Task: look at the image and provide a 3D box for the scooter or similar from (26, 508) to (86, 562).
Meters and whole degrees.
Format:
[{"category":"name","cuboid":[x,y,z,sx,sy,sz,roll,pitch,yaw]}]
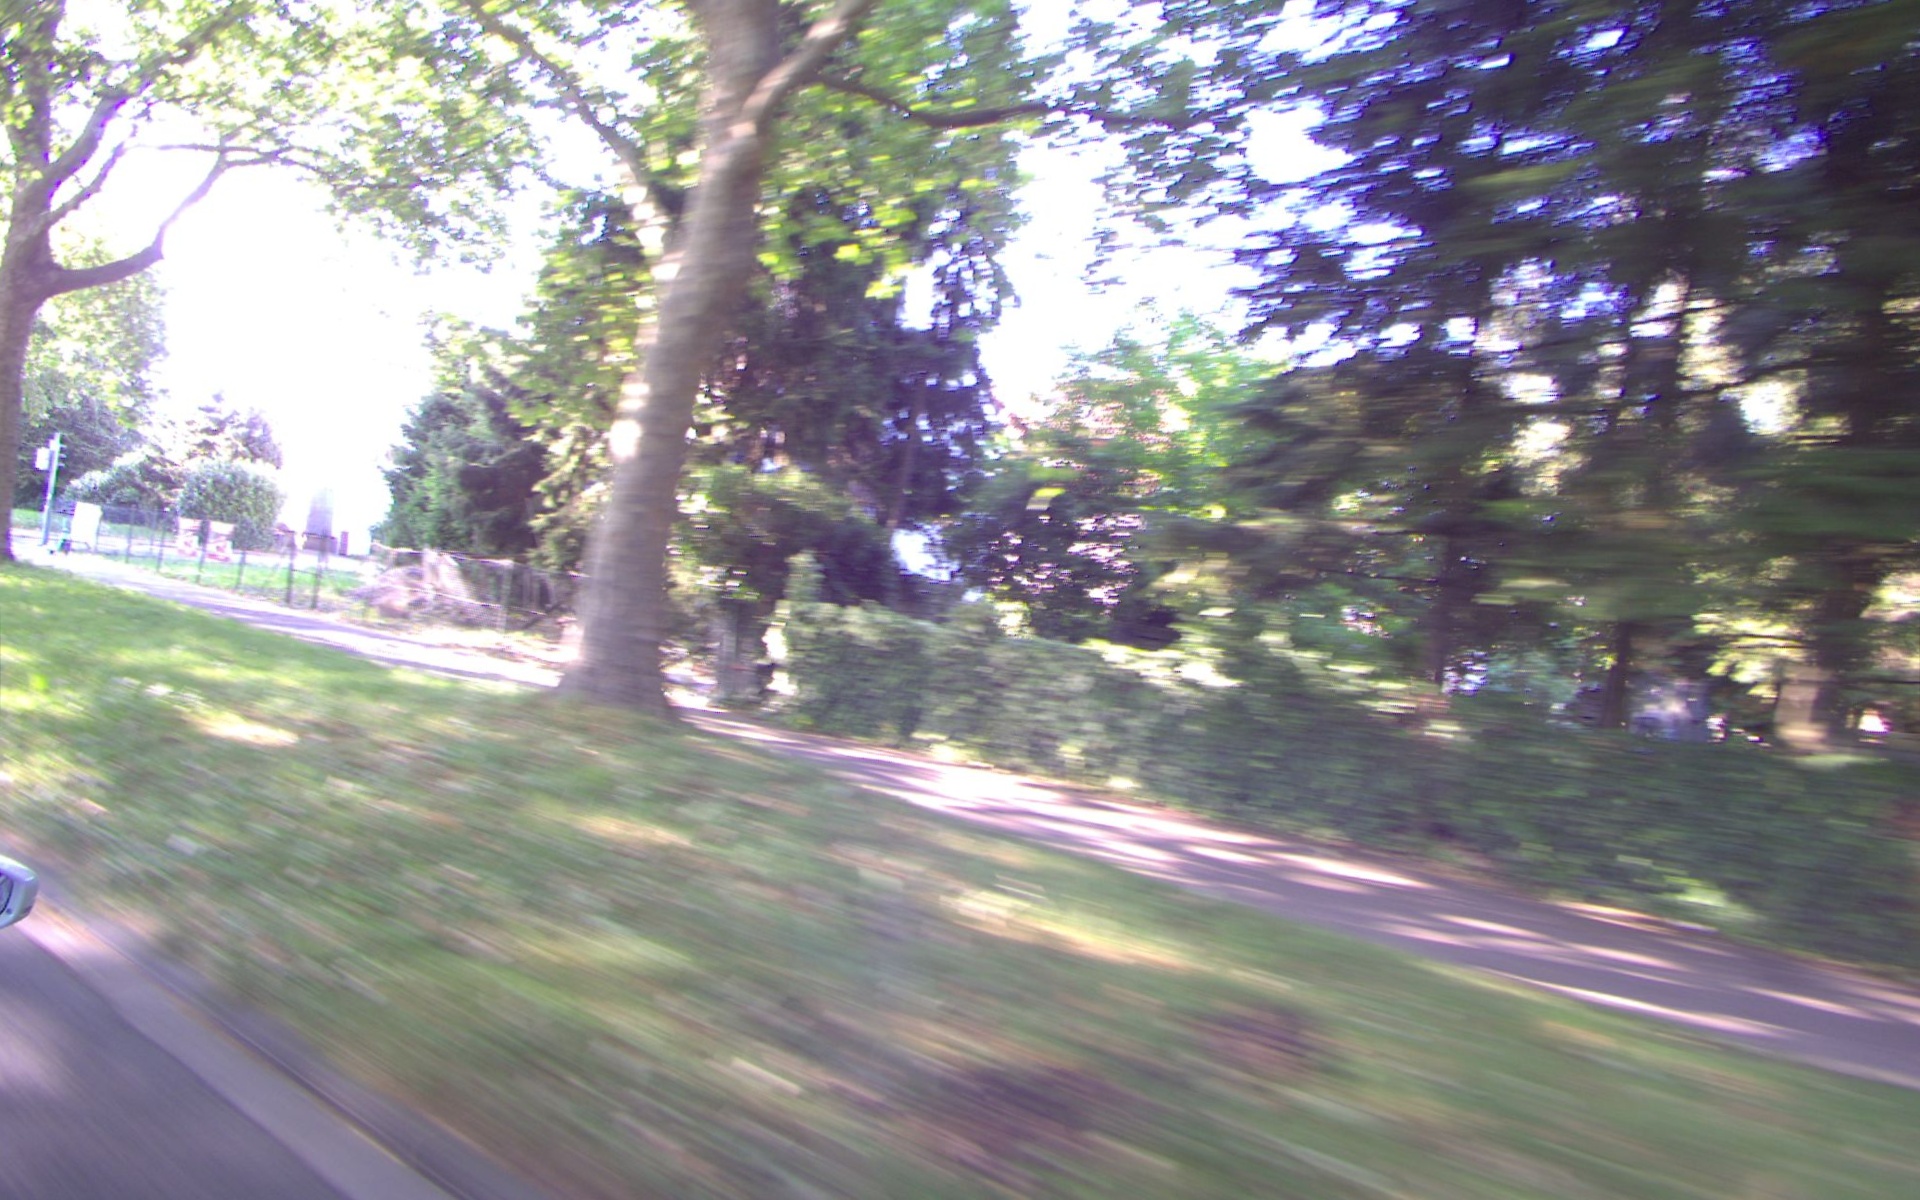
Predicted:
[{"category":"scooter or similar","cuboid":[-24.098,-1.744,26.807,2.276,1.273,0.550,6,-1,34]}]
